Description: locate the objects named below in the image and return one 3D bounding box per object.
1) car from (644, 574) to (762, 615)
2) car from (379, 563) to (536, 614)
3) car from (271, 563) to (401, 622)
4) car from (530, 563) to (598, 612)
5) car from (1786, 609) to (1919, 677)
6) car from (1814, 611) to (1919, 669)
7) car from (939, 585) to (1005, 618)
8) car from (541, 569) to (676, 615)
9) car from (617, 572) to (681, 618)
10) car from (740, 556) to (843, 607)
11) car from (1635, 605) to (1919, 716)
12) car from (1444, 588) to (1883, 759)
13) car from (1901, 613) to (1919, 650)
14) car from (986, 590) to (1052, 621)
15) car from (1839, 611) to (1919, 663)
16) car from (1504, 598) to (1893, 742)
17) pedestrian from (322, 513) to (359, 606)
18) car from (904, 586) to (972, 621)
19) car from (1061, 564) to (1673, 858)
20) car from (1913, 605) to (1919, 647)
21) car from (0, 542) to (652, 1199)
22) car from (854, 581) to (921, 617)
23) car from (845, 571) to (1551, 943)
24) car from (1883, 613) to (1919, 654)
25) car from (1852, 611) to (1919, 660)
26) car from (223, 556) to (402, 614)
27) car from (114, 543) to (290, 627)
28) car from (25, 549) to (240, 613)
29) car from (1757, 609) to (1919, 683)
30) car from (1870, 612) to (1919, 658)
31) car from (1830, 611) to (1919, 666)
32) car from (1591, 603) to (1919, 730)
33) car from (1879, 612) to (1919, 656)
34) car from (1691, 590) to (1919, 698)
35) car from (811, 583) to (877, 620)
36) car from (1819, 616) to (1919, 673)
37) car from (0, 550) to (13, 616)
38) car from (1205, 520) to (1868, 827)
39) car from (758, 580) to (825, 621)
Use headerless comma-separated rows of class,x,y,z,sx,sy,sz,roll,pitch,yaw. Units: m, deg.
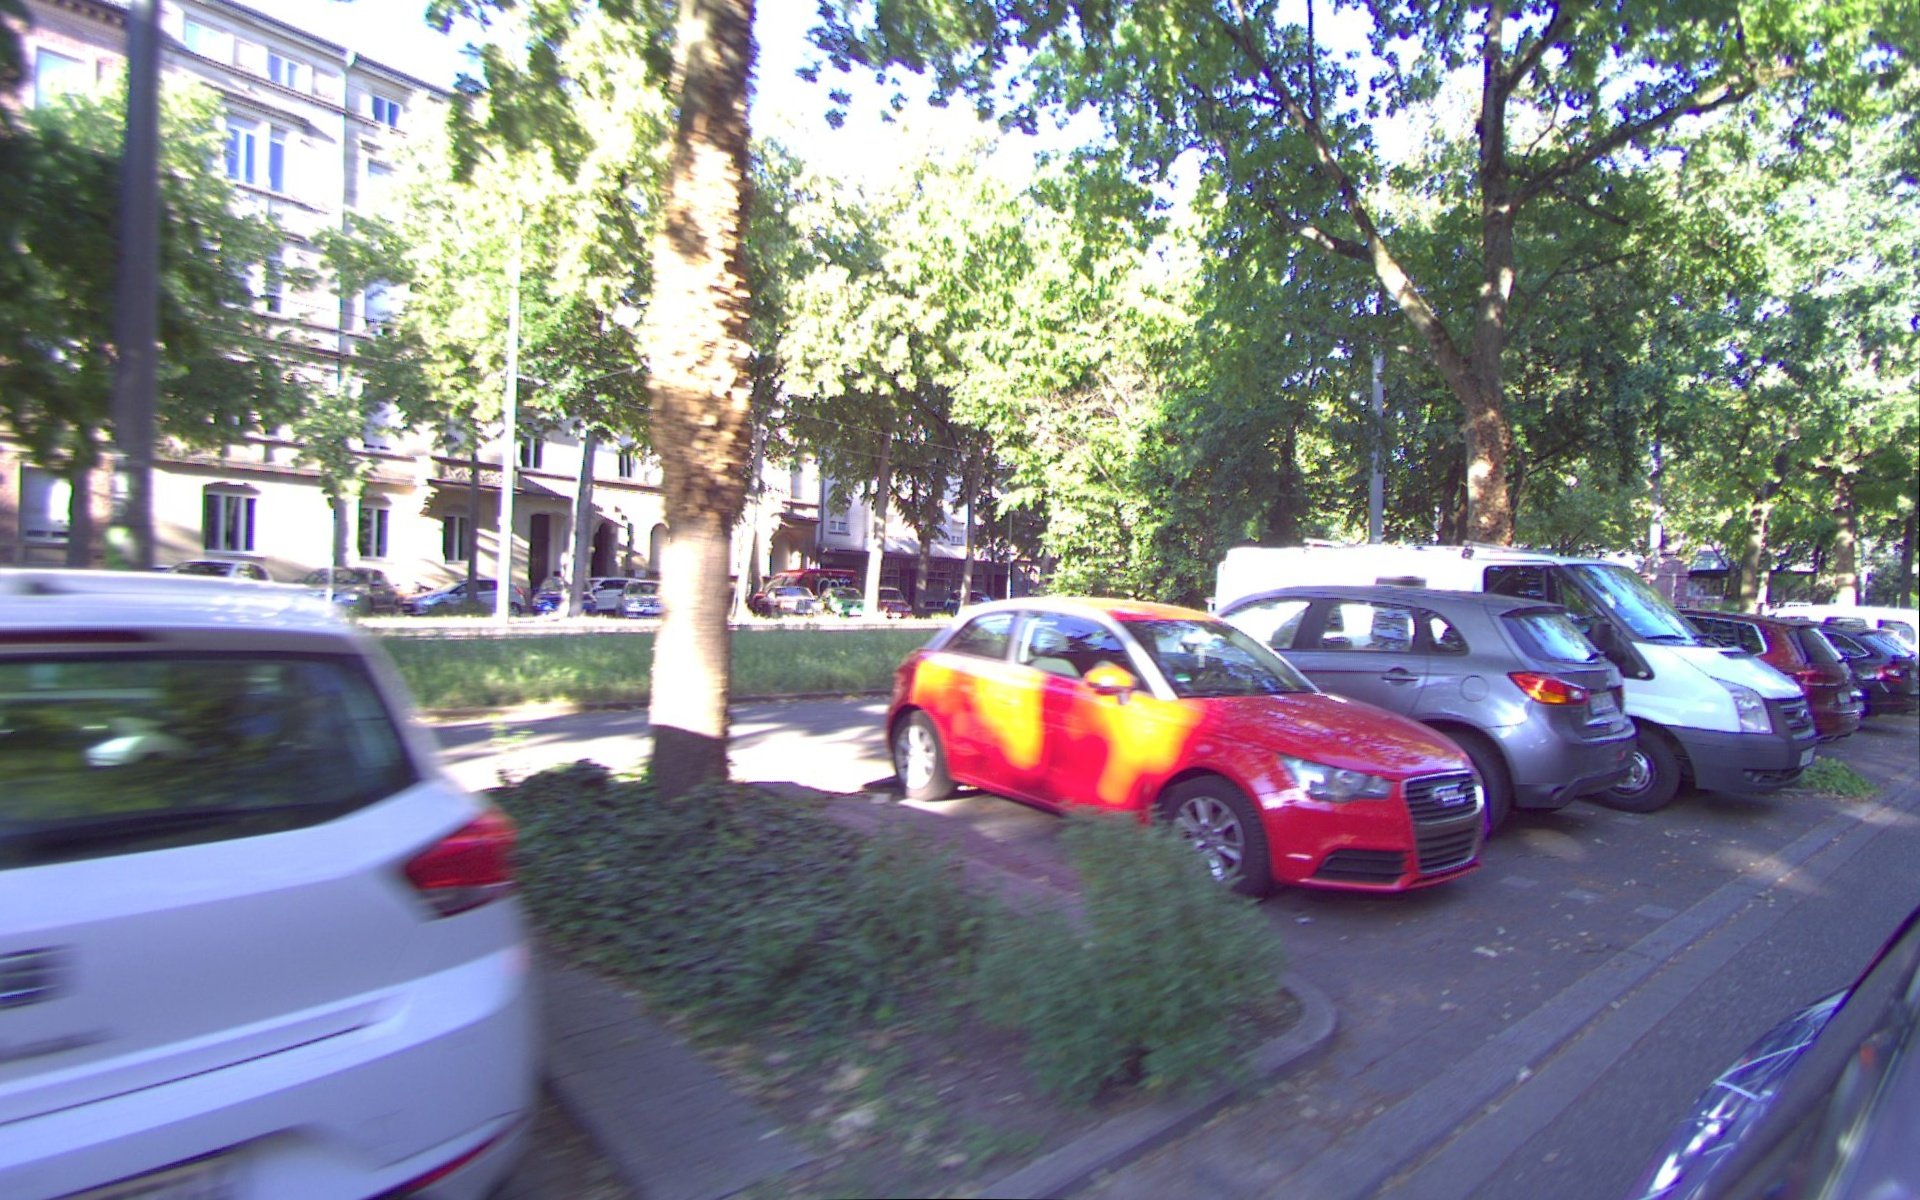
car,-10.800,-0.222,42.787,1.990,1.587,4.549,3,1,38
car,-17.025,-0.372,34.472,1.989,1.587,4.359,3,1,37
car,-15.246,-0.235,24.968,1.771,1.295,4.292,2,1,-19
car,-11.693,-0.403,30.072,1.711,1.295,4.009,2,1,-20
car,23.415,1.096,25.311,1.654,1.507,3.996,1,1,-40
car,27.347,1.169,29.119,1.654,1.507,3.996,1,1,-40
car,0.504,0.036,46.468,1.711,1.295,4.009,2,1,-20
car,-13.494,-0.291,39.093,1.990,1.587,4.549,3,1,38
car,-9.877,-0.200,31.993,1.711,1.295,4.009,2,1,-20
car,-7.720,-0.835,46.729,1.990,2.199,4.549,3,1,38
car,14.067,0.935,17.192,1.654,1.507,3.996,1,1,-40
car,8.206,0.722,12.122,1.654,1.573,3.996,1,1,-40
car,41.301,1.405,41.236,1.654,1.507,4.130,1,1,-40
car,2.781,0.248,48.489,1.711,1.295,4.009,2,1,-20
car,30.604,1.226,31.999,1.654,1.507,3.996,1,1,-40
car,9.931,0.829,13.875,1.654,1.507,3.996,1,1,-40
pedestrian,-20.137,-1.306,32.905,0.916,2.984,0.690,2,0,38
car,-0.999,0.104,43.254,1.711,1.295,4.009,2,1,-20
car,2.866,0.592,7.810,1.735,1.599,3.994,1,1,-42
car,45.247,1.269,44.192,1.799,1.864,5.094,1,1,-40
car,-2.501,0.586,2.894,1.654,1.479,3.996,1,1,-40
car,-3.026,-0.072,41.591,1.711,1.295,4.009,2,1,-20
car,1.105,0.610,6.201,1.654,1.441,3.996,1,1,-40
car,37.841,1.346,38.253,1.654,1.507,4.130,1,1,-40
car,32.484,1.236,33.547,1.654,1.541,4.130,1,1,-40
car,-19.699,-0.436,30.948,1.989,1.587,4.185,3,1,37
car,-17.237,-0.374,23.275,1.771,1.716,4.292,2,1,-16
car,-22.454,-0.498,27.603,1.989,1.587,4.185,3,1,37
car,21.455,1.064,23.784,1.654,1.507,3.996,1,1,-40
car,34.333,1.284,34.838,1.654,1.507,4.262,1,1,-40
car,28.863,1.193,30.314,1.654,1.507,3.996,1,1,-40
car,12.095,0.898,15.297,1.654,1.507,3.996,1,1,-40
car,36.019,1.313,36.351,1.654,1.507,4.262,1,1,-40
car,17.359,0.822,20.339,1.654,1.855,3.996,1,1,-40
car,-4.623,0.027,39.905,1.711,1.295,4.009,2,1,-20
car,25.170,1.195,26.367,1.654,1.355,3.996,1,1,-40
car,-25.337,-0.466,23.812,1.989,1.587,4.185,3,1,37
car,4.946,0.410,9.364,2.116,2.063,4.856,1,1,-40
car,-6.252,-0.011,37.188,1.711,1.295,4.009,2,1,-20
